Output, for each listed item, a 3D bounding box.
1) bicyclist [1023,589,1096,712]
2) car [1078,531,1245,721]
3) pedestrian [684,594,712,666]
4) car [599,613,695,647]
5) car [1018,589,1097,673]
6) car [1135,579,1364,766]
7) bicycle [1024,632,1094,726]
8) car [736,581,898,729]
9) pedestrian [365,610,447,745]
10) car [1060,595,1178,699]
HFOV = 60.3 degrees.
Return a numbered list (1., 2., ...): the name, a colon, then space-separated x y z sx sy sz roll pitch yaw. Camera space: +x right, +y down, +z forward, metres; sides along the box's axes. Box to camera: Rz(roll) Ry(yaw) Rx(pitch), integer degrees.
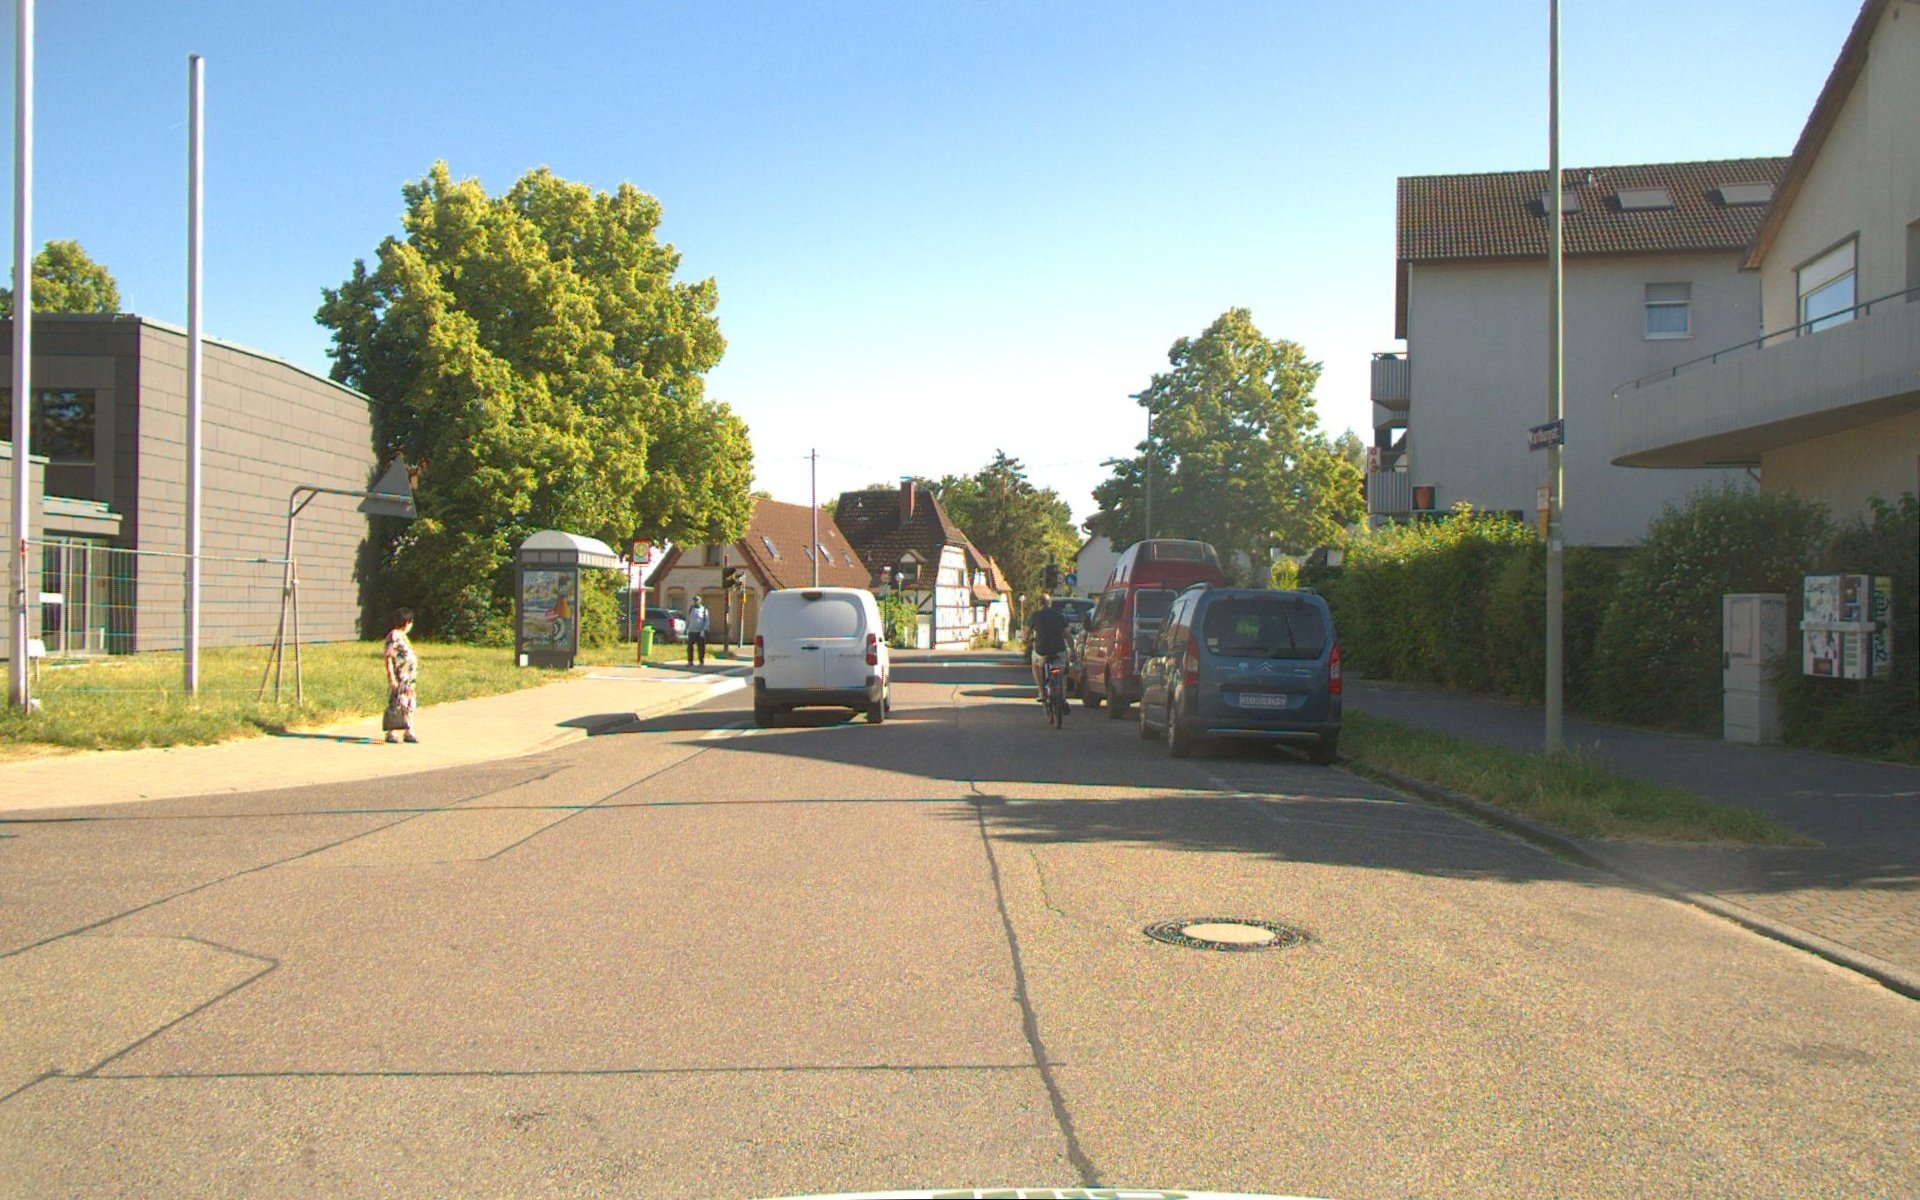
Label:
1. bicyclist: 1.334 0.678 22.365 0.887 1.612 0.966 1 -1 -2
2. car: 3.016 0.402 25.742 1.829 2.607 4.766 2 -1 -1
3. pedestrian: -6.772 0.777 42.774 0.608 1.836 0.640 0 -1 -2
4. car: -14.086 1.343 74.396 3.893 1.454 1.716 1 0 18
5. car: 2.605 0.840 45.073 1.767 2.105 3.999 2 -1 -1
6. car: 3.152 0.761 18.783 1.767 1.817 3.999 2 -1 -1
7. bicycle: 1.317 1.041 22.399 0.771 1.158 2.279 1 0 -1
8. car: -1.959 0.723 23.876 1.953 1.915 4.288 1 0 0
9. pedestrian: -6.249 0.868 18.669 0.500 1.471 0.637 3 0 33
10. car: 3.036 0.889 32.322 1.767 1.817 3.999 2 -1 -1
